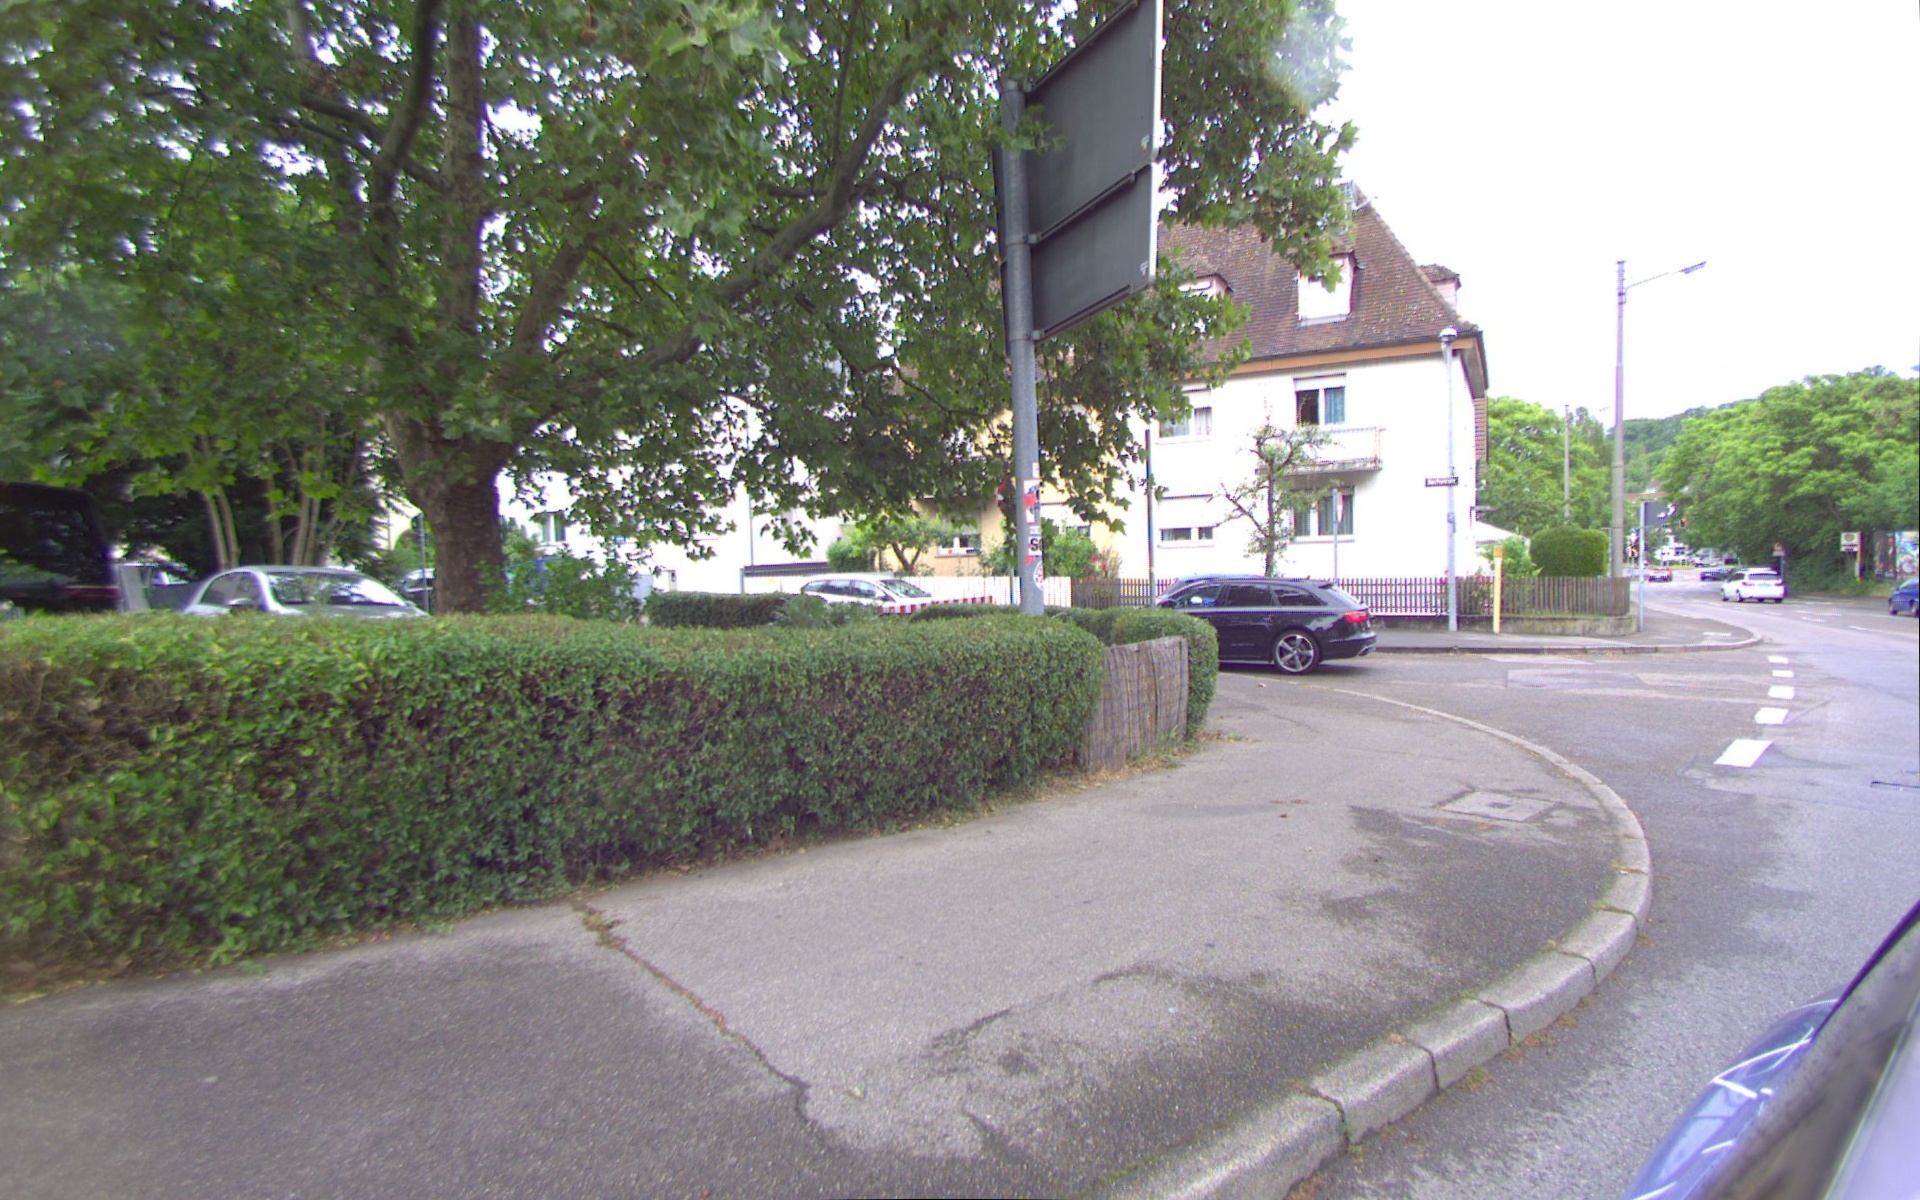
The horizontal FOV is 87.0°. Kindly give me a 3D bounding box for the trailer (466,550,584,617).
[{"bbox_3d":[-13.921,-0.559,32.374,3.456,2.038,1.657,1,1,26],"label":"trailer"}]

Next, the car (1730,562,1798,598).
[{"bbox_3d":[40.749,-0.999,51.371,1.819,1.599,4.292,2,-1,27],"label":"car"}]

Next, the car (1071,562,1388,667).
[{"bbox_3d":[4.374,0.148,16.547,4.768,1.498,1.870,1,2,25],"label":"car"}]

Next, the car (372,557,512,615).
[{"bbox_3d":[-17.503,-0.501,34.182,4.535,1.862,1.982,1,2,28],"label":"car"}]

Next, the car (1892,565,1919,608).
[{"bbox_3d":[33.937,-0.470,34.988,1.588,1.443,3.662,-1,2,28],"label":"car"}]

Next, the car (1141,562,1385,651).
[{"bbox_3d":[5.690,0.053,19.151,4.095,1.498,1.865,2,2,32],"label":"car"}]

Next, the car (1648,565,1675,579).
[{"bbox_3d":[76.802,-3.108,110.850,1.883,1.479,3.963,1,2,27],"label":"car"}]

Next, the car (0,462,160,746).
[{"bbox_3d":[-8.535,-0.001,7.985,4.376,1.956,1.980,1,2,29],"label":"car"}]

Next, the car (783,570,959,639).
[{"bbox_3d":[-2.079,0.056,23.402,3.752,1.471,1.754,1,1,30],"label":"car"}]

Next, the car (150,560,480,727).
[{"bbox_3d":[-7.444,0.360,11.581,3.974,1.599,1.800,1,2,35],"label":"car"}]

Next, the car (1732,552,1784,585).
[{"bbox_3d":[48.839,-1.933,62.011,1.949,1.955,4.631,1,2,32],"label":"car"}]

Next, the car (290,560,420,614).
[{"bbox_3d":[-22.072,-0.515,36.898,4.535,1.862,1.982,1,2,28],"label":"car"}]
